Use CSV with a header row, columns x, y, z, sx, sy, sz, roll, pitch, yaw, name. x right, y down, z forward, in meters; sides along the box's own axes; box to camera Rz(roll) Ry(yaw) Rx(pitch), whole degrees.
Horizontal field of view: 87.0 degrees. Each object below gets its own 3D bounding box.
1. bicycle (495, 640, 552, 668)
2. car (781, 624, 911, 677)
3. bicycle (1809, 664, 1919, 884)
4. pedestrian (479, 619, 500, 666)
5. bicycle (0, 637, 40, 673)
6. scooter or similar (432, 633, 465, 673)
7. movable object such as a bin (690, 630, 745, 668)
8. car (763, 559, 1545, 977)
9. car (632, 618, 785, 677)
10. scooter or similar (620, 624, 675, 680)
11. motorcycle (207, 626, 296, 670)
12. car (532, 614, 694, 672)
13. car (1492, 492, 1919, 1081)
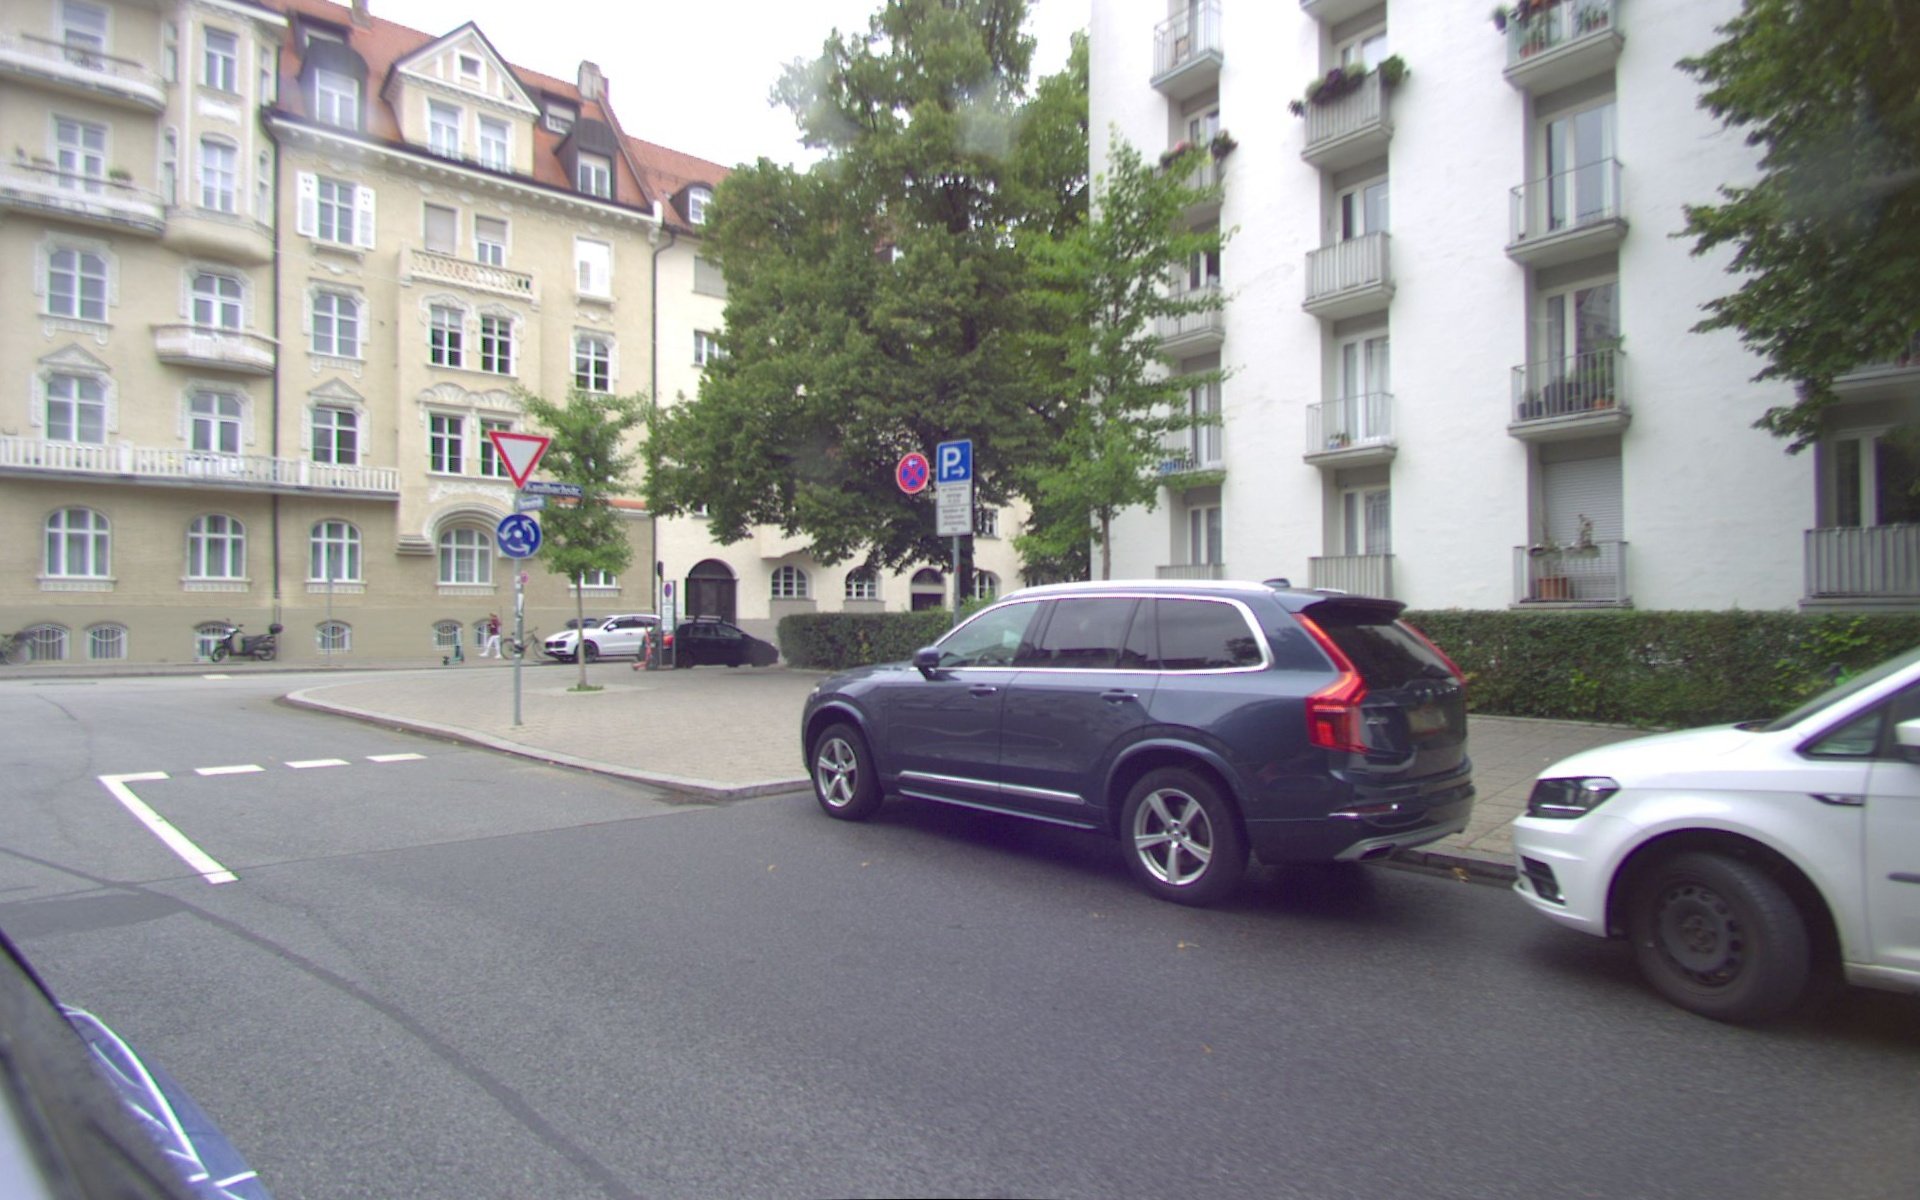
x,y,z,sx,sy,sz,roll,pitch,yaw,name
-15.391,1.896,35.736,1.781,0.964,0.468,1,-1,-37,bicycle
-3.713,1.637,33.323,4.035,1.602,1.594,2,-1,-40,car
5.432,0.971,5.830,0.554,1.160,0.693,1,-1,11,bicycle
-16.947,1.514,36.438,0.597,1.677,0.464,1,-1,-34,pedestrian
-27.327,1.556,28.748,1.758,0.999,0.544,2,-1,-43,bicycle
-16.590,1.717,32.820,0.403,1.239,1.278,1,-1,0,scooter or similar
-9.269,1.852,38.599,1.843,1.383,1.570,1,-1,-21,movable object such as a bin
0.846,0.734,6.825,1.857,1.781,5.064,2,-1,-43,car
-7.209,1.359,29.268,4.039,1.602,1.592,2,-4,-44,car
-8.152,1.353,26.407,1.093,1.398,0.800,-2,-1,11,scooter or similar
-22.612,1.514,32.331,2.211,1.336,0.825,1,-1,-42,motorcycle
-12.254,1.495,35.902,4.951,1.880,2.170,2,-1,-40,car
4.613,0.623,3.211,1.857,1.952,4.837,3,-3,-43,car
